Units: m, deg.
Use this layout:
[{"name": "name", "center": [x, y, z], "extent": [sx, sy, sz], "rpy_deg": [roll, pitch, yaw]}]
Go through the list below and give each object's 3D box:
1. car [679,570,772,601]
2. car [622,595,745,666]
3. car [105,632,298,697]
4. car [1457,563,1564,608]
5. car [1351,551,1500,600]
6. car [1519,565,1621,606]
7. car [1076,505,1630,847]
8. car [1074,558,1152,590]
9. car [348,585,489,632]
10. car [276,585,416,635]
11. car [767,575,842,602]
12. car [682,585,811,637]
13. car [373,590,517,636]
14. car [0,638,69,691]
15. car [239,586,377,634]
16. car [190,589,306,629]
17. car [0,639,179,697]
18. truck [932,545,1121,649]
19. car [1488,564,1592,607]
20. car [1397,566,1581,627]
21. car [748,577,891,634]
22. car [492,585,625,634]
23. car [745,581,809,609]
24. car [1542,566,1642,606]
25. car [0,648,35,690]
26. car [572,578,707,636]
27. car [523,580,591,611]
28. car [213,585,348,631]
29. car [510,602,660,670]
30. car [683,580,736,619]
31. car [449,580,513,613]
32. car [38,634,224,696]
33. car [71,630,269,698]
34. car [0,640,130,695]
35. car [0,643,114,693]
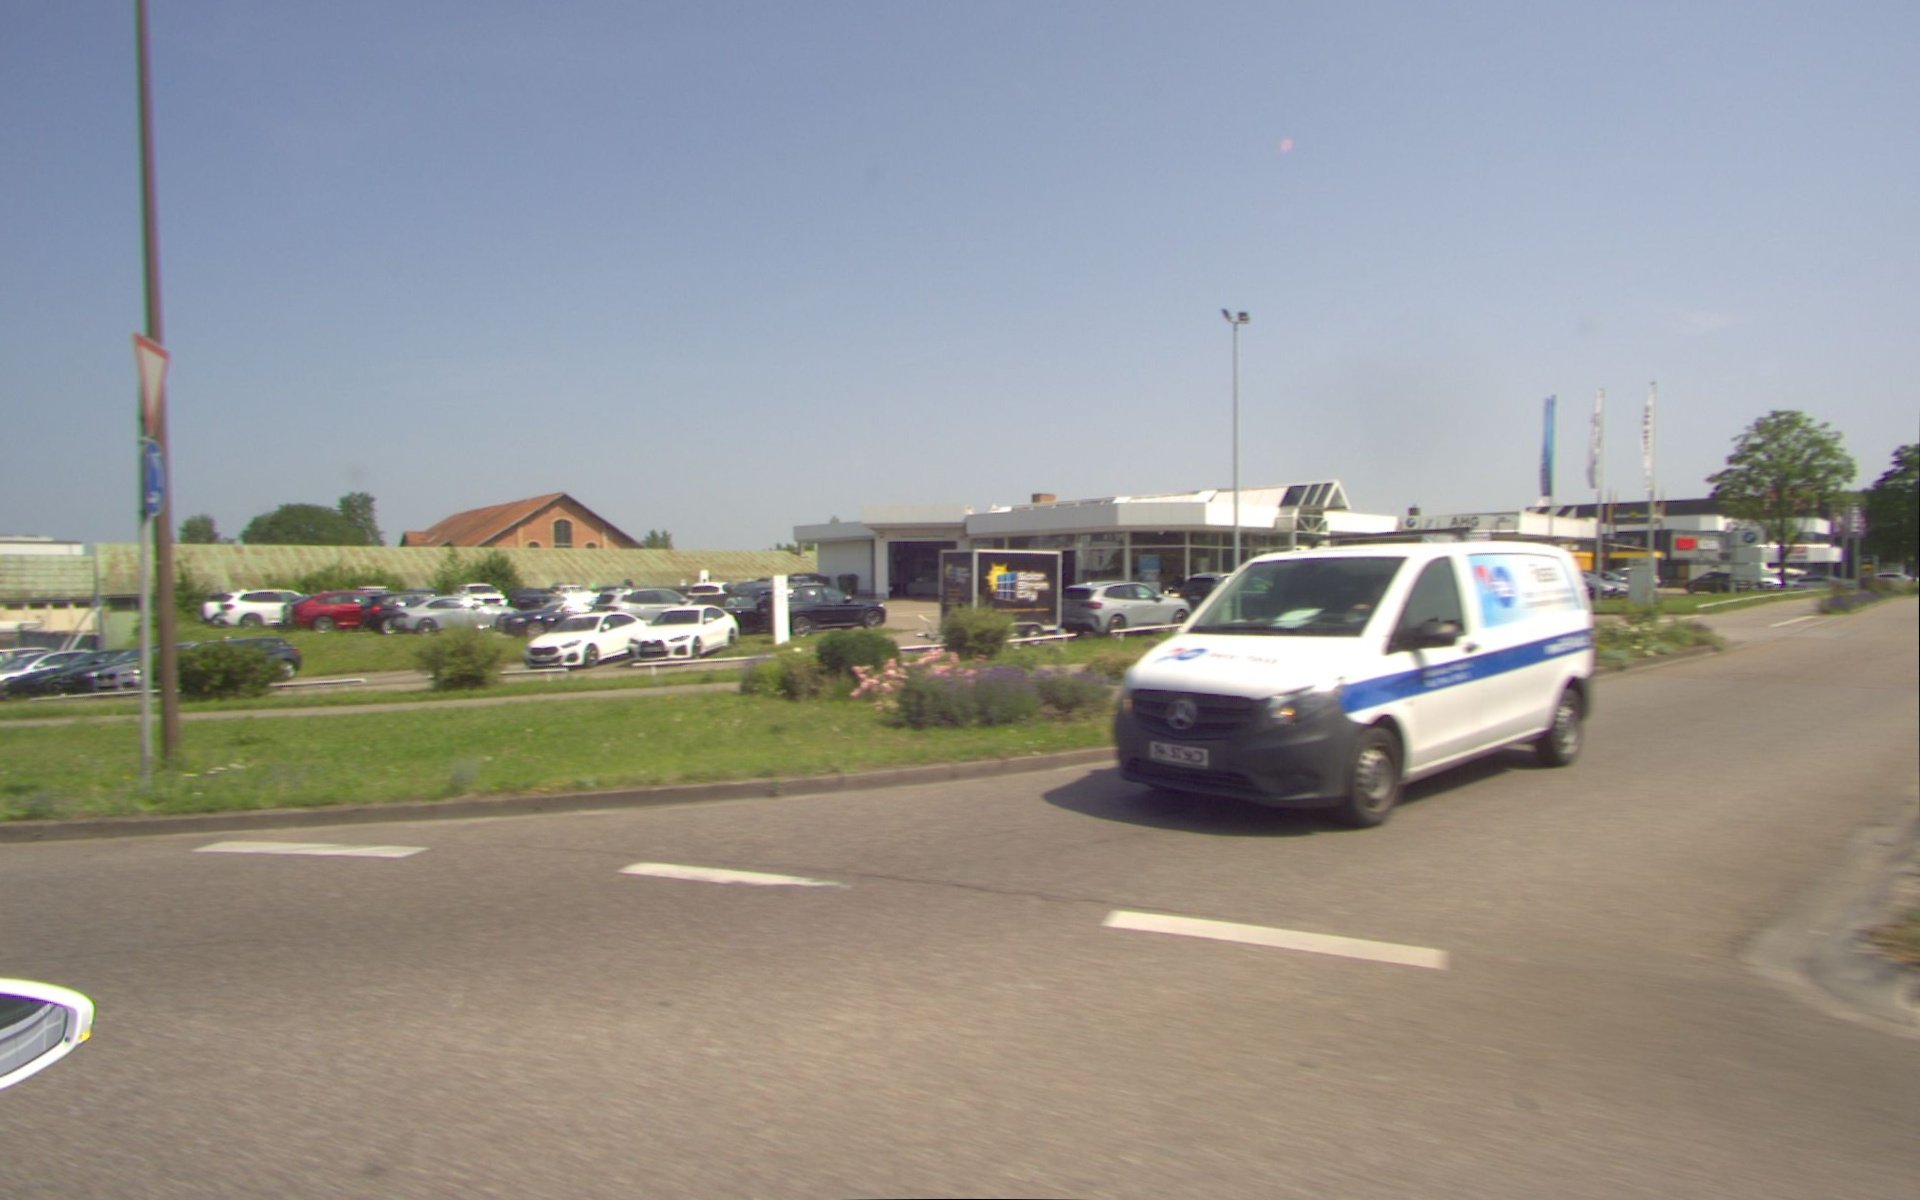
[{"name": "car", "center": [-12.437, -0.764, 53.190], "extent": [4.416, 1.543, 1.933], "rpy_deg": [-2, 2, -40]}, {"name": "car", "center": [-7.789, 0.791, 28.696], "extent": [1.734, 1.593, 4.660], "rpy_deg": [-1, 3, 6]}, {"name": "car", "center": [-23.080, 1.910, 30.714], "extent": [1.751, 1.440, 4.566], "rpy_deg": [-4, 1, 13]}, {"name": "car", "center": [27.138, -0.685, 49.492], "extent": [1.978, 2.040, 4.226], "rpy_deg": [-1, -1, -40]}, {"name": "car", "center": [15.753, -0.829, 33.943], "extent": [4.294, 1.533, 1.907], "rpy_deg": [-1, 2, -12]}, {"name": "car", "center": [32.281, -0.724, 53.101], "extent": [1.978, 2.040, 4.226], "rpy_deg": [-1, -1, -40]}, {"name": "car", "center": [3.426, 0.446, 8.100], "extent": [5.169, 1.963, 1.846], "rpy_deg": [0, -1, -39]}, {"name": "car", "center": [8.188, -1.390, 53.378], "extent": [3.993, 1.608, 1.894], "rpy_deg": [-2, 2, -39]}, {"name": "car", "center": [-20.978, 0.293, 38.910], "extent": [4.423, 1.657, 1.930], "rpy_deg": [-3, 2, -44]}, {"name": "car", "center": [-24.360, 0.358, 39.820], "extent": [4.423, 1.771, 1.930], "rpy_deg": [-3, 2, -44]}, {"name": "car", "center": [-7.676, -0.568, 49.451], "extent": [3.285, 1.293, 1.653], "rpy_deg": [-1, 2, 21]}, {"name": "car", "center": [-7.427, 0.332, 35.013], "extent": [3.967, 1.521, 1.930], "rpy_deg": [-4, 5, -44]}, {"name": "car", "center": [-19.243, 0.451, 37.554], "extent": [4.423, 1.520, 1.930], "rpy_deg": [-3, 2, -44]}, {"name": "car", "center": [-36.110, 2.509, 36.985], "extent": [1.969, 1.771, 4.243], "rpy_deg": [-4, 1, 27]}, {"name": "car", "center": [-26.626, 0.373, 40.991], "extent": [4.423, 1.771, 1.821], "rpy_deg": [-3, 2, -44]}, {"name": "car", "center": [-30.675, 0.359, 43.202], "extent": [3.848, 1.553, 1.751], "rpy_deg": [-3, 2, -44]}, {"name": "car", "center": [-29.216, 2.240, 33.627], "extent": [1.893, 1.431, 4.242], "rpy_deg": [-4, 2, 27]}, {"name": "truck", "center": [1.996, -0.166, 28.610], "extent": [5.560, 2.701, 1.934], "rpy_deg": [-2, 2, -39]}, {"name": "car", "center": [29.774, -0.702, 51.527], "extent": [1.978, 2.040, 4.226], "rpy_deg": [-1, -1, -40]}, {"name": "car", "center": [14.596, -0.130, 27.723], "extent": [4.294, 1.533, 1.907], "rpy_deg": [-1, 2, -12]}, {"name": "car", "center": [-4.601, 0.158, 33.273], "extent": [4.380, 1.520, 1.931], "rpy_deg": [-6, 3, -44]}, {"name": "car", "center": [-14.129, 0.285, 35.294], "extent": [3.960, 1.547, 1.934], "rpy_deg": [-2, 2, -38]}, {"name": "car", "center": [-7.935, -0.249, 43.602], "extent": [1.599, 1.125, 2.949], "rpy_deg": [-1, 2, 15]}, {"name": "car", "center": [34.790, -0.738, 55.197], "extent": [1.978, 2.040, 4.226], "rpy_deg": [-1, -1, -40]}, {"name": "car", "center": [-38.314, 2.802, 37.625], "extent": [1.969, 1.528, 4.761], "rpy_deg": [-4, 1, 27]}, {"name": "car", "center": [-11.050, 0.195, 34.684], "extent": [3.967, 1.774, 1.930], "rpy_deg": [-4, 3, -44]}, {"name": "car", "center": [-22.601, -0.269, 56.103], "extent": [2.171, 1.618, 4.265], "rpy_deg": [-3, 2, -42]}, {"name": "car", "center": [-28.737, 0.307, 42.433], "extent": [4.423, 1.771, 1.821], "rpy_deg": [-3, 2, -44]}, {"name": "car", "center": [-10.553, 0.963, 28.576], "extent": [1.735, 1.592, 4.571], "rpy_deg": [-2, 1, 12]}, {"name": "car", "center": [-11.146, -0.075, 44.706], "extent": [1.626, 1.608, 4.265], "rpy_deg": [-1, 1, -5]}, {"name": "car", "center": [-25.376, -0.185, 52.953], "extent": [1.902, 1.618, 4.265], "rpy_deg": [-3, 2, -41]}, {"name": "car", "center": [-26.967, 2.064, 32.772], "extent": [1.889, 1.502, 4.251], "rpy_deg": [-4, 1, 18]}, {"name": "car", "center": [-24.865, 1.975, 31.764], "extent": [1.889, 1.587, 4.561], "rpy_deg": [-4, 1, 18]}, {"name": "car", "center": [-31.783, 2.366, 34.528], "extent": [1.890, 1.485, 4.423], "rpy_deg": [-4, 1, 19]}, {"name": "car", "center": [-33.750, 2.515, 36.329], "extent": [1.845, 1.485, 4.243], "rpy_deg": [-4, 1, 27]}]
